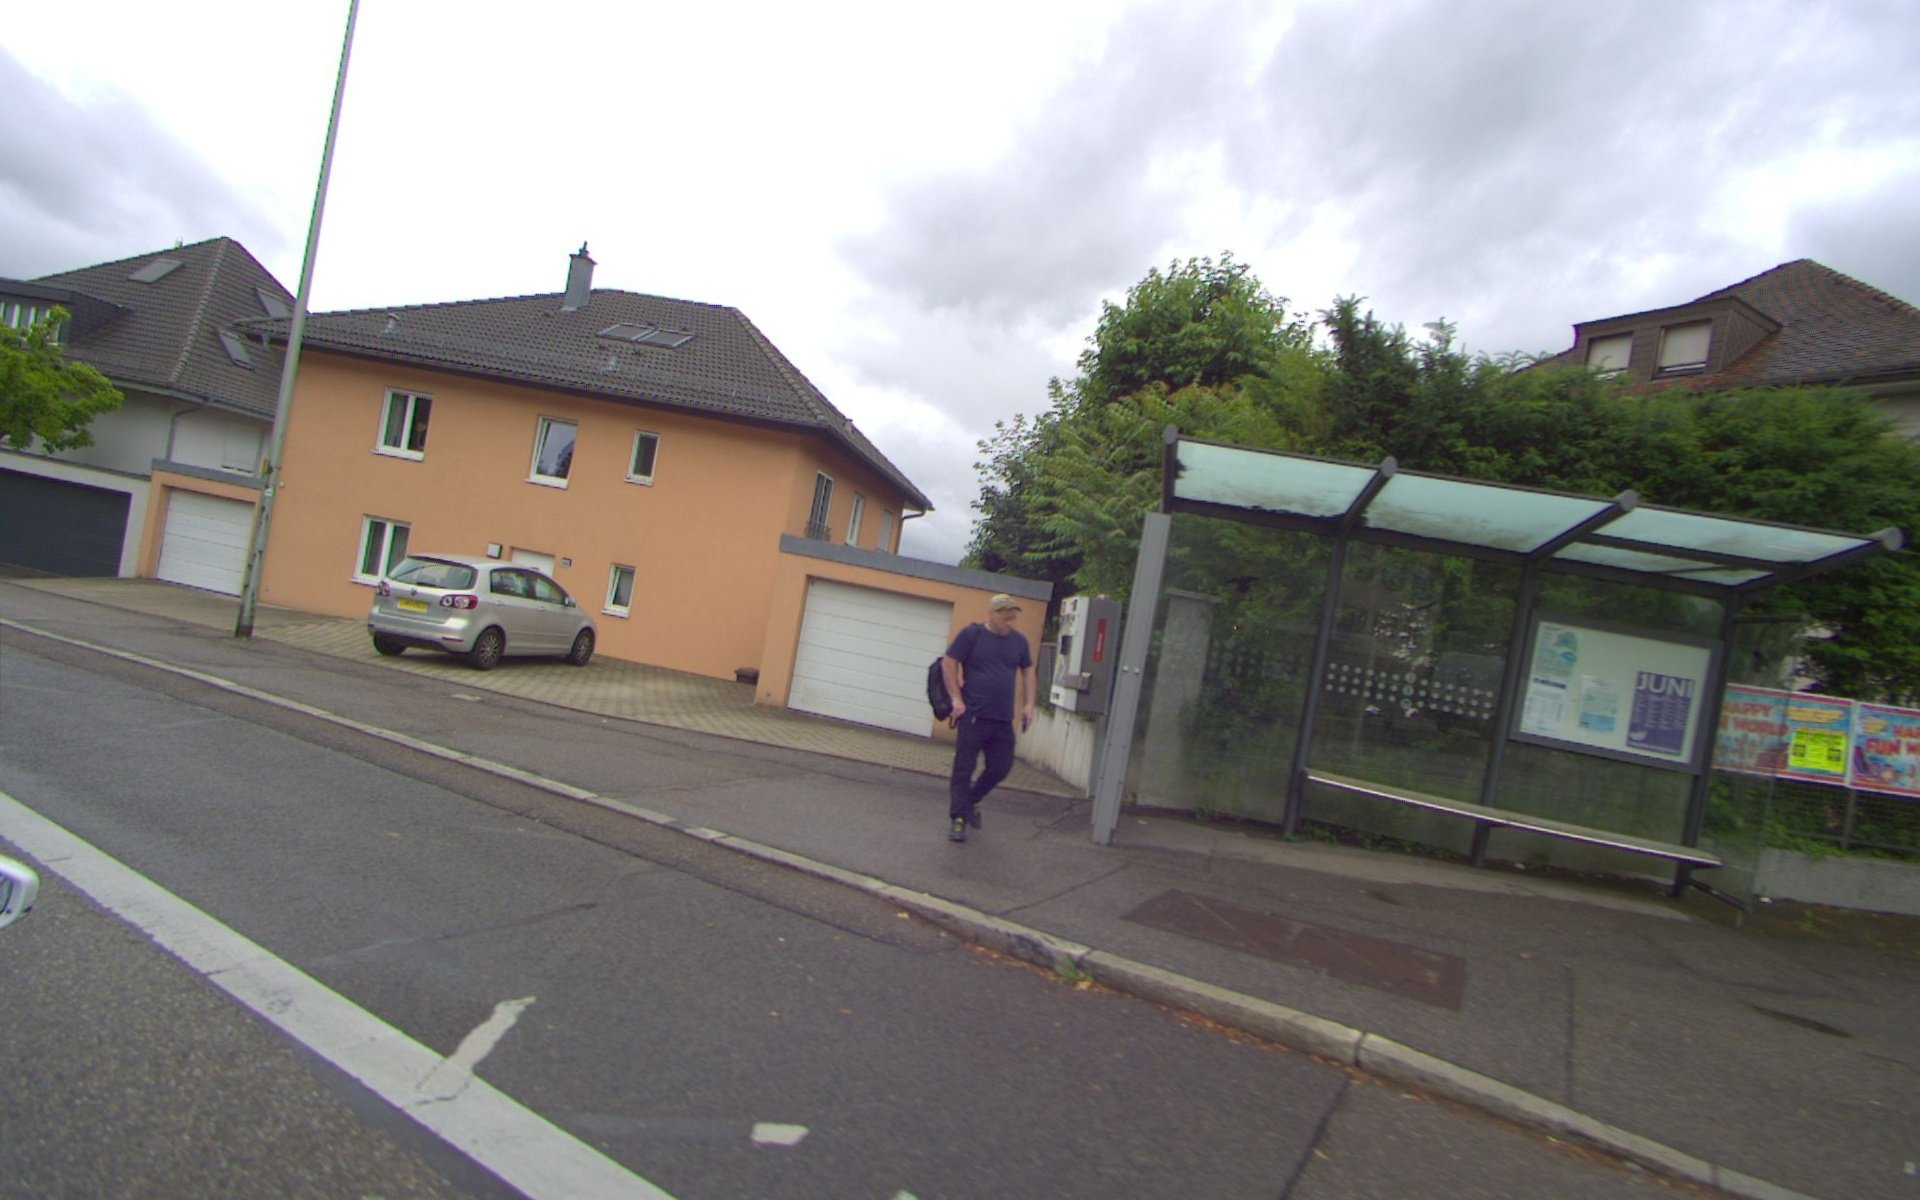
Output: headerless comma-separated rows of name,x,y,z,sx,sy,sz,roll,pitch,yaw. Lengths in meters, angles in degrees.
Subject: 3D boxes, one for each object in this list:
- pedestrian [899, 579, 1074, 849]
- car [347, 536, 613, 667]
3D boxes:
pedestrian,0.146,0.754,7.145,0.912,1.675,1.097,7,0,-6
car,-7.315,0.083,15.803,1.694,1.585,3.873,8,-1,10
